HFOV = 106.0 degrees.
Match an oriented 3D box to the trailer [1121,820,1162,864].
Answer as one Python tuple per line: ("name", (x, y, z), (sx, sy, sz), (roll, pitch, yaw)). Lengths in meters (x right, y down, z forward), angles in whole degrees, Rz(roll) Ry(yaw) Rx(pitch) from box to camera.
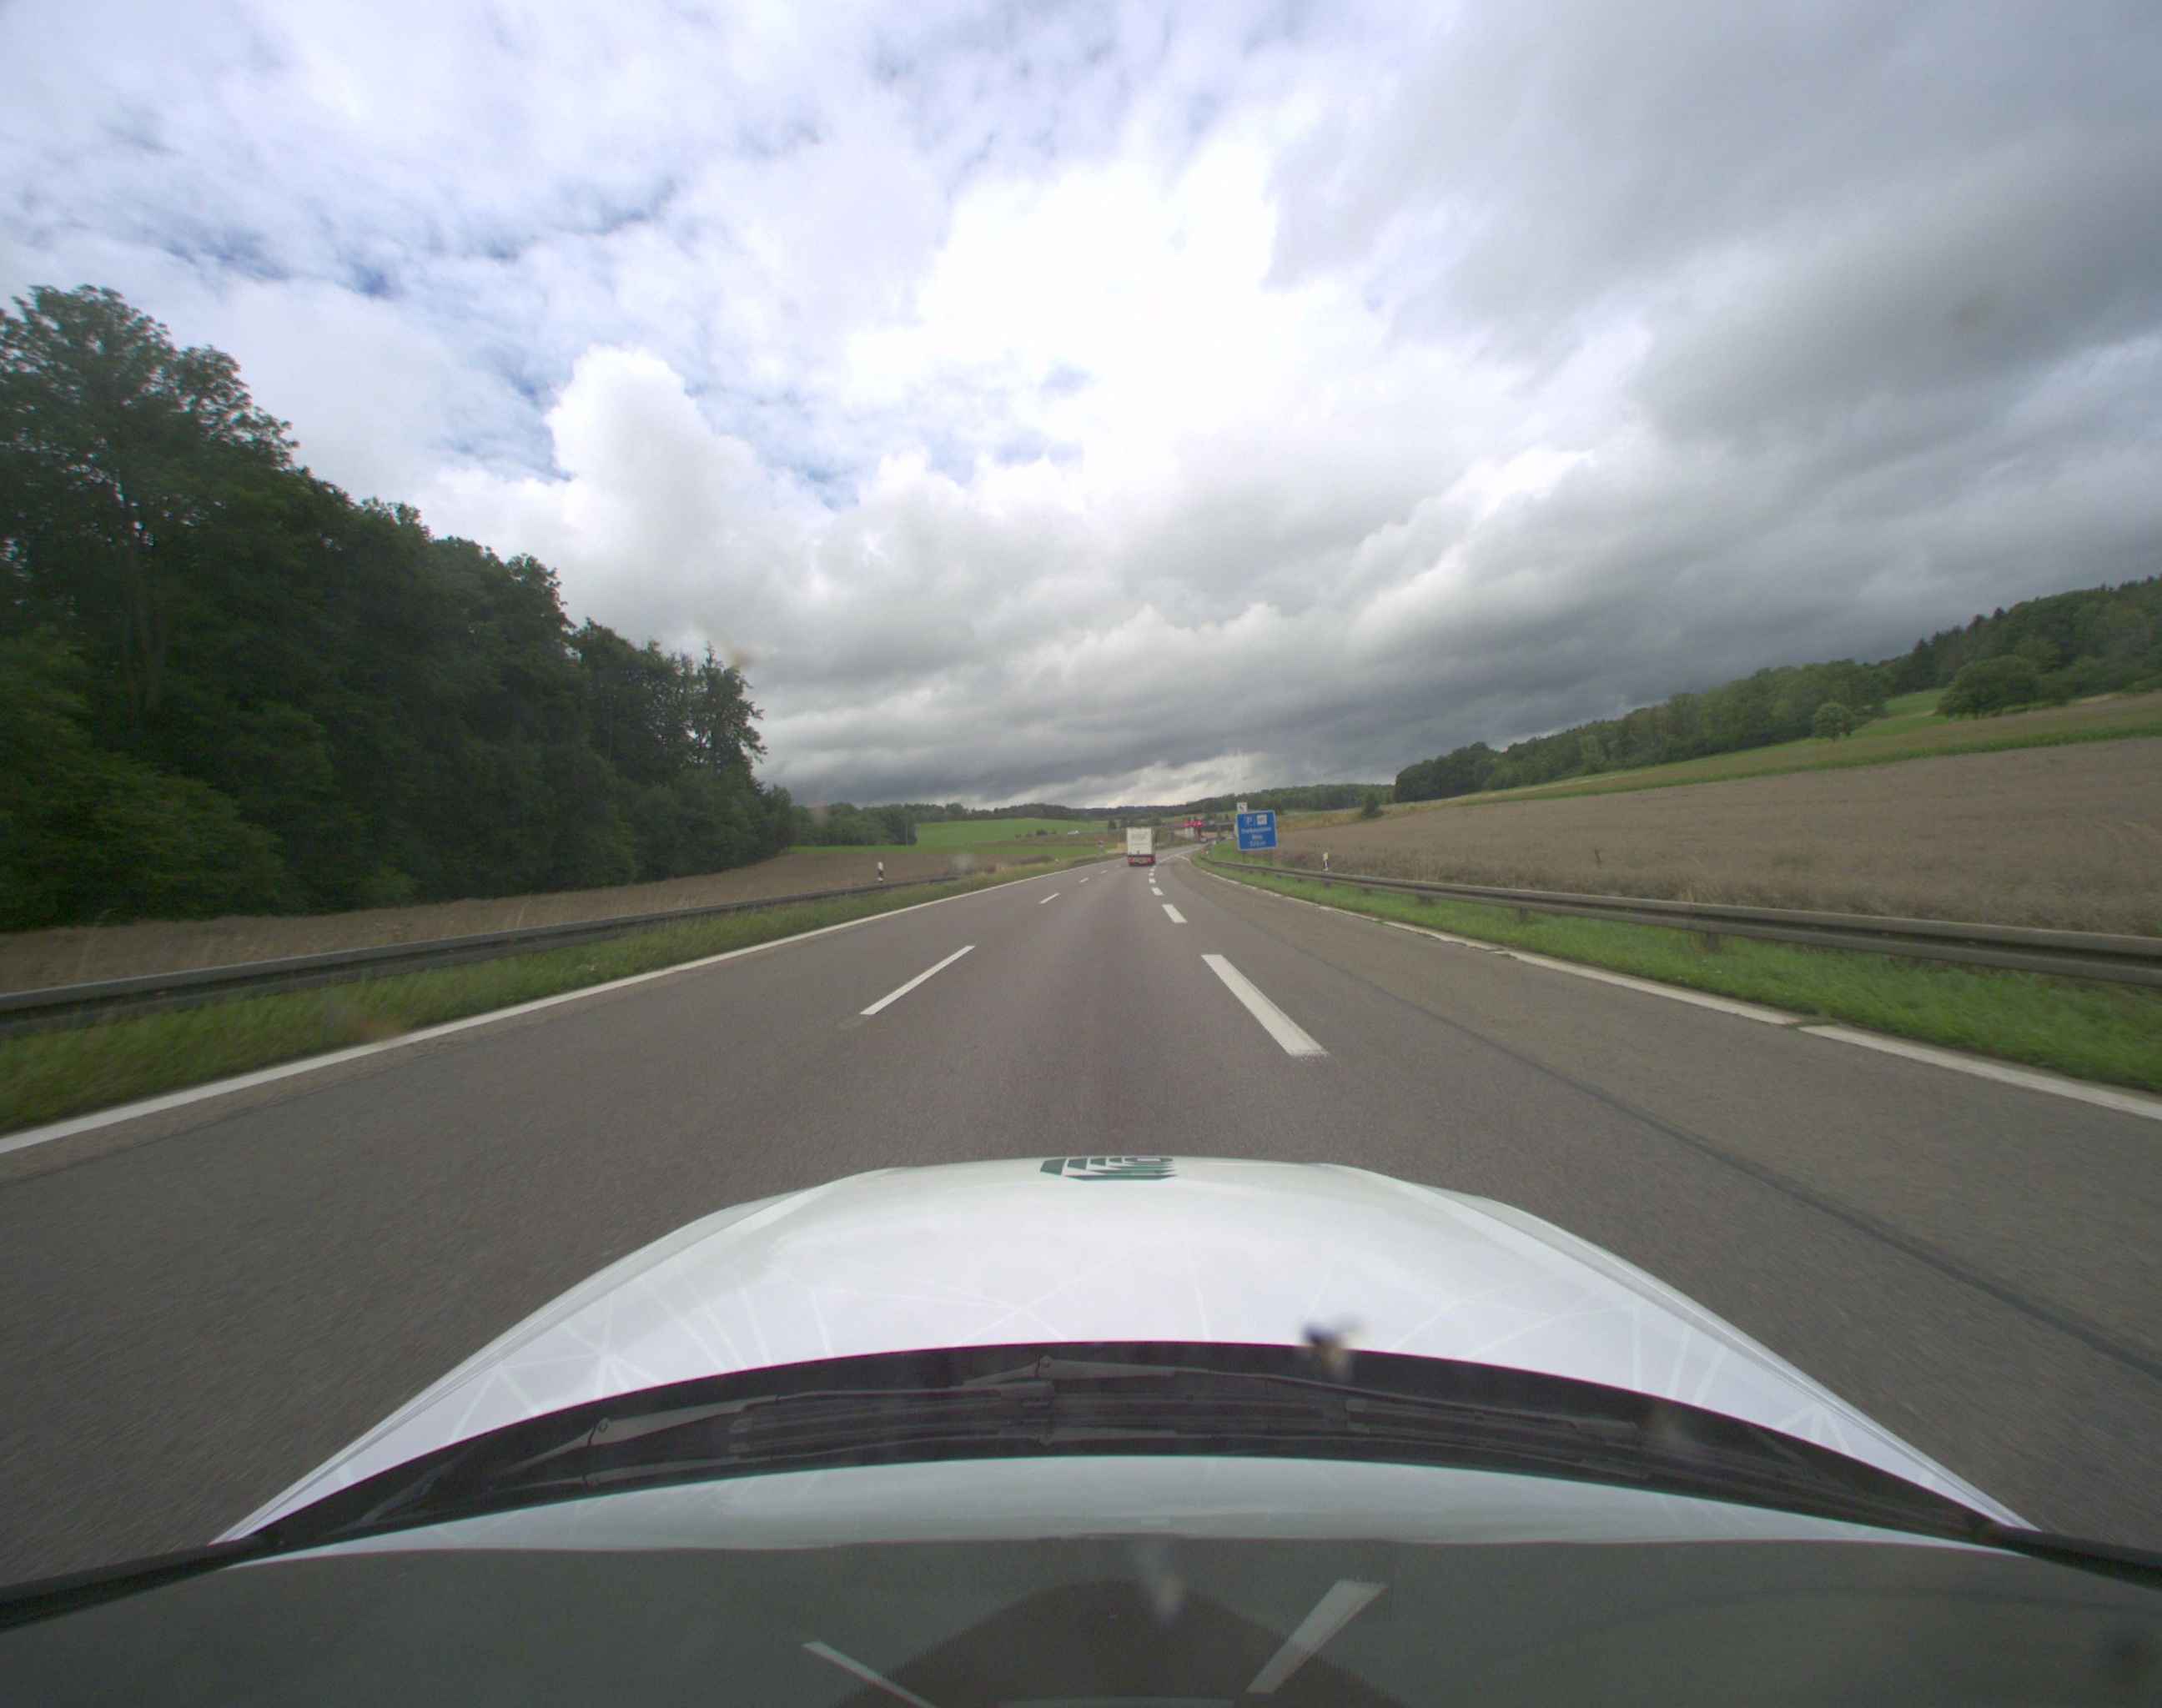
("trailer", (6.669, -1.208, 87.771), (3.786, 4.174, 14.833), (-2, 0, 6))

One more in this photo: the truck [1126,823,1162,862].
("truck", (7.414, -1.262, 94.879), (3.769, 4.132, 8.278), (-3, 0, 6))
